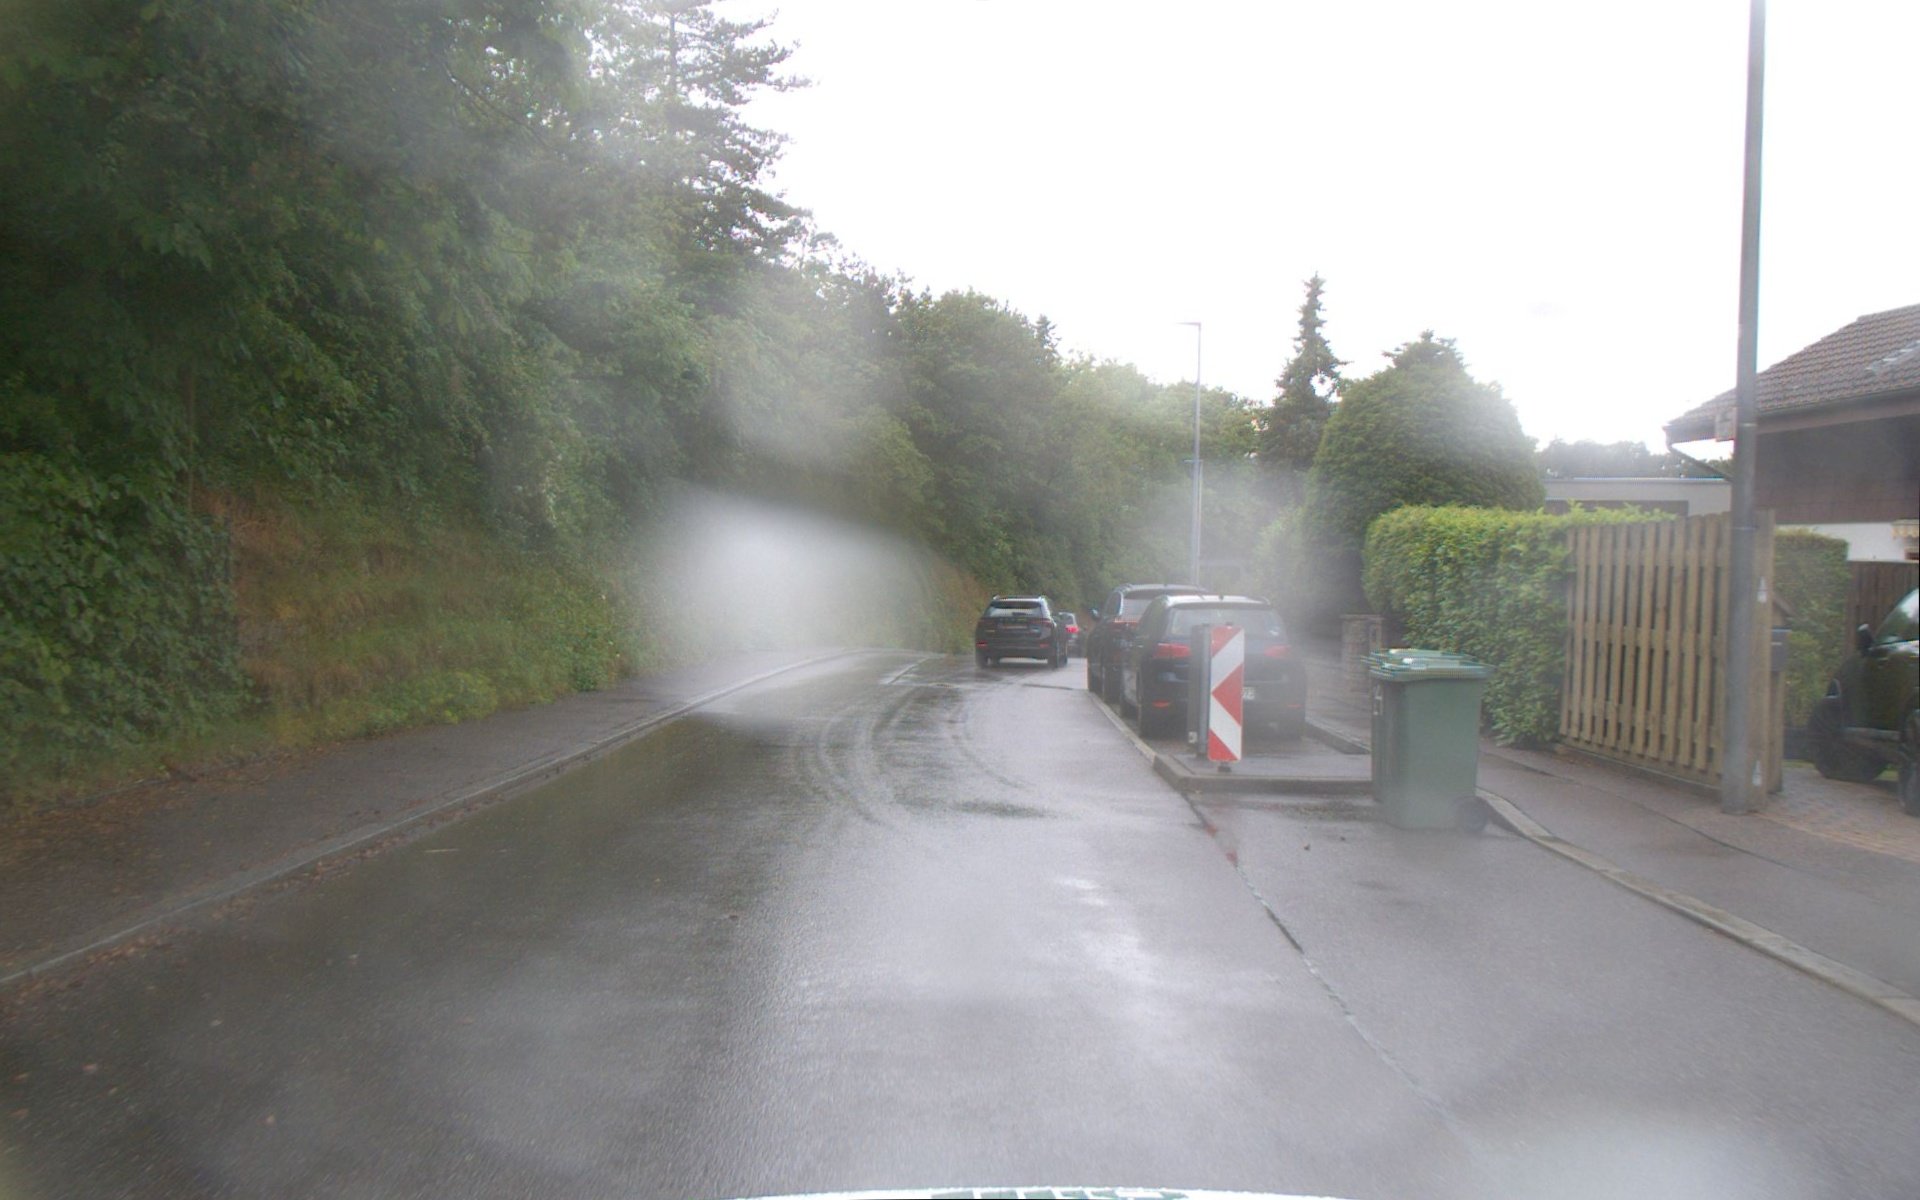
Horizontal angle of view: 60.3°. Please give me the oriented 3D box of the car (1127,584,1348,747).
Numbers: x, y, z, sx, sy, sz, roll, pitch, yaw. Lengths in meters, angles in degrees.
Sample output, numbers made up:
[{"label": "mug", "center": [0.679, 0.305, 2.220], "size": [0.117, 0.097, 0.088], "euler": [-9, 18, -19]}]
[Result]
[{"label": "car", "center": [2.877, 0.611, 18.014], "size": [1.719, 1.487, 4.302], "euler": [2, 1, 1]}]

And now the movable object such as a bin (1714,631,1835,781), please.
[{"label": "movable object such as a bin", "center": [6.628, 0.845, 13.496], "size": [0.732, 1.123, 0.820], "euler": [4, 0, 20]}]

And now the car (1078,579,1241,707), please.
[{"label": "car", "center": [2.739, 0.530, 23.657], "size": [1.836, 1.619, 4.480], "euler": [1, 1, 1]}]

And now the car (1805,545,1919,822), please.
[{"label": "car", "center": [7.686, 0.640, 12.219], "size": [1.953, 1.749, 4.409], "euler": [4, 0, 20]}]

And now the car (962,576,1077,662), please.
[{"label": "car", "center": [1.325, 0.452, 34.944], "size": [1.829, 1.539, 4.095], "euler": [3, -3, 10]}]

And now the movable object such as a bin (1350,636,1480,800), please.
[{"label": "movable object such as a bin", "center": [3.246, 0.832, 11.851], "size": [0.714, 1.097, 0.661], "euler": [2, 1, -1]}]

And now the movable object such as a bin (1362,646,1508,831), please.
[{"label": "movable object such as a bin", "center": [3.062, 0.880, 10.707], "size": [0.701, 1.114, 0.656], "euler": [2, 1, -3]}]

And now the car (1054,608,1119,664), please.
[{"label": "car", "center": [4.253, 1.148, 54.977], "size": [1.951, 1.633, 4.412], "euler": [2, 1, 6]}]
